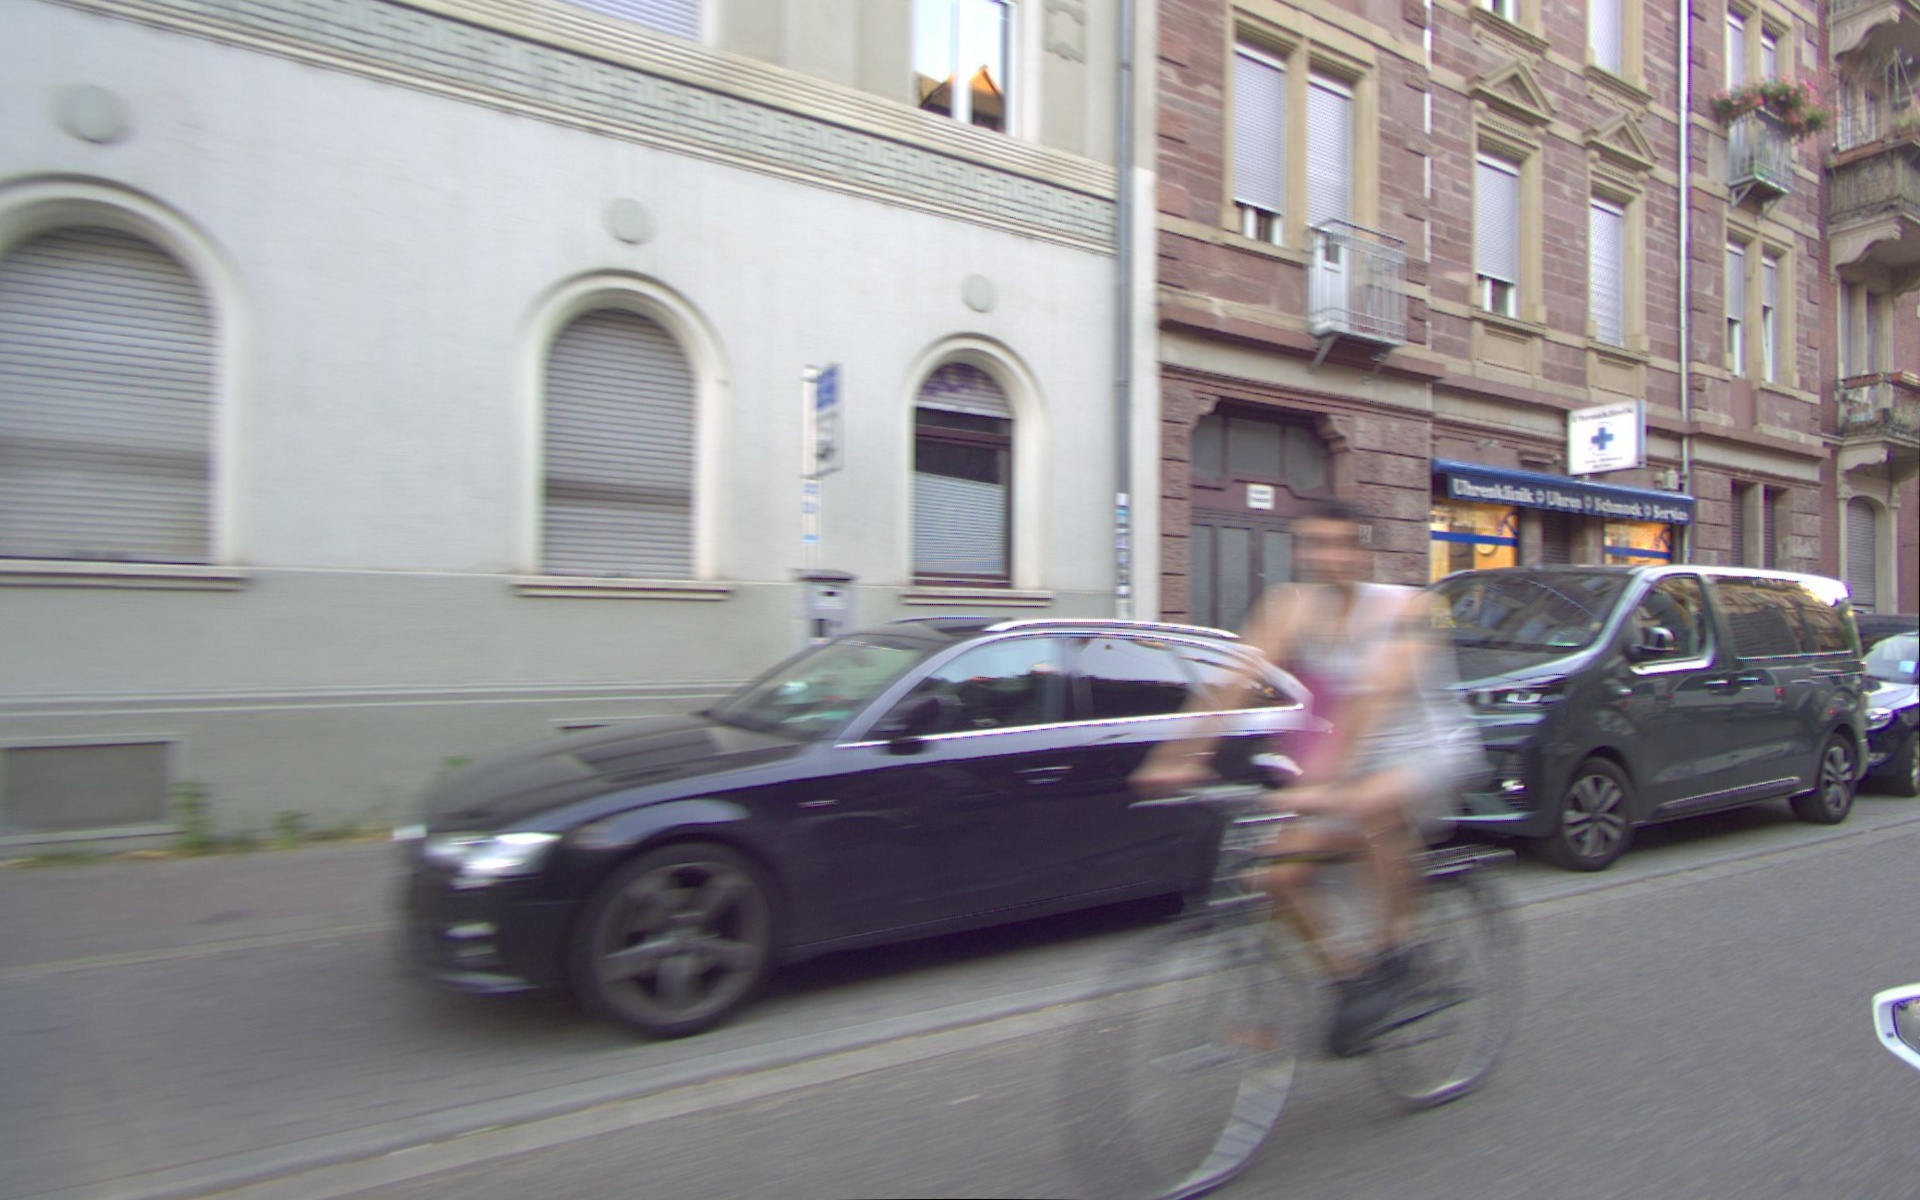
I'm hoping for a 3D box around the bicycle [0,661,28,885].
[{"bbox_3d":[-5.714,0.856,4.610,2.004,1.110,0.557,1,-1,-29],"label":"bicycle"}]

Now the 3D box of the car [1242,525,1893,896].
[{"bbox_3d":[4.542,0.635,7.314,4.887,1.951,1.896,1,-1,-29],"label":"car"}]

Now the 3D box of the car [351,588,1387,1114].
[{"bbox_3d":[-0.238,0.766,4.812,4.480,1.491,1.903,1,-1,-30],"label":"car"}]

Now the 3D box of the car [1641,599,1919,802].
[{"bbox_3d":[9.018,0.900,10.159,4.017,1.685,1.897,1,-2,-28],"label":"car"}]

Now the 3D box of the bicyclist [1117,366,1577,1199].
[{"bbox_3d":[1.067,0.427,2.822,0.933,1.874,0.796,1,-1,-32],"label":"bicyclist"}]

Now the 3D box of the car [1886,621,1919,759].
[{"bbox_3d":[13.104,1.082,12.263,3.808,1.614,1.493,1,-2,-28],"label":"car"}]

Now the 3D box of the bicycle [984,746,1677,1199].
[{"bbox_3d":[1.113,0.997,2.845,1.982,0.959,0.796,1,-1,-32],"label":"bicycle"}]
